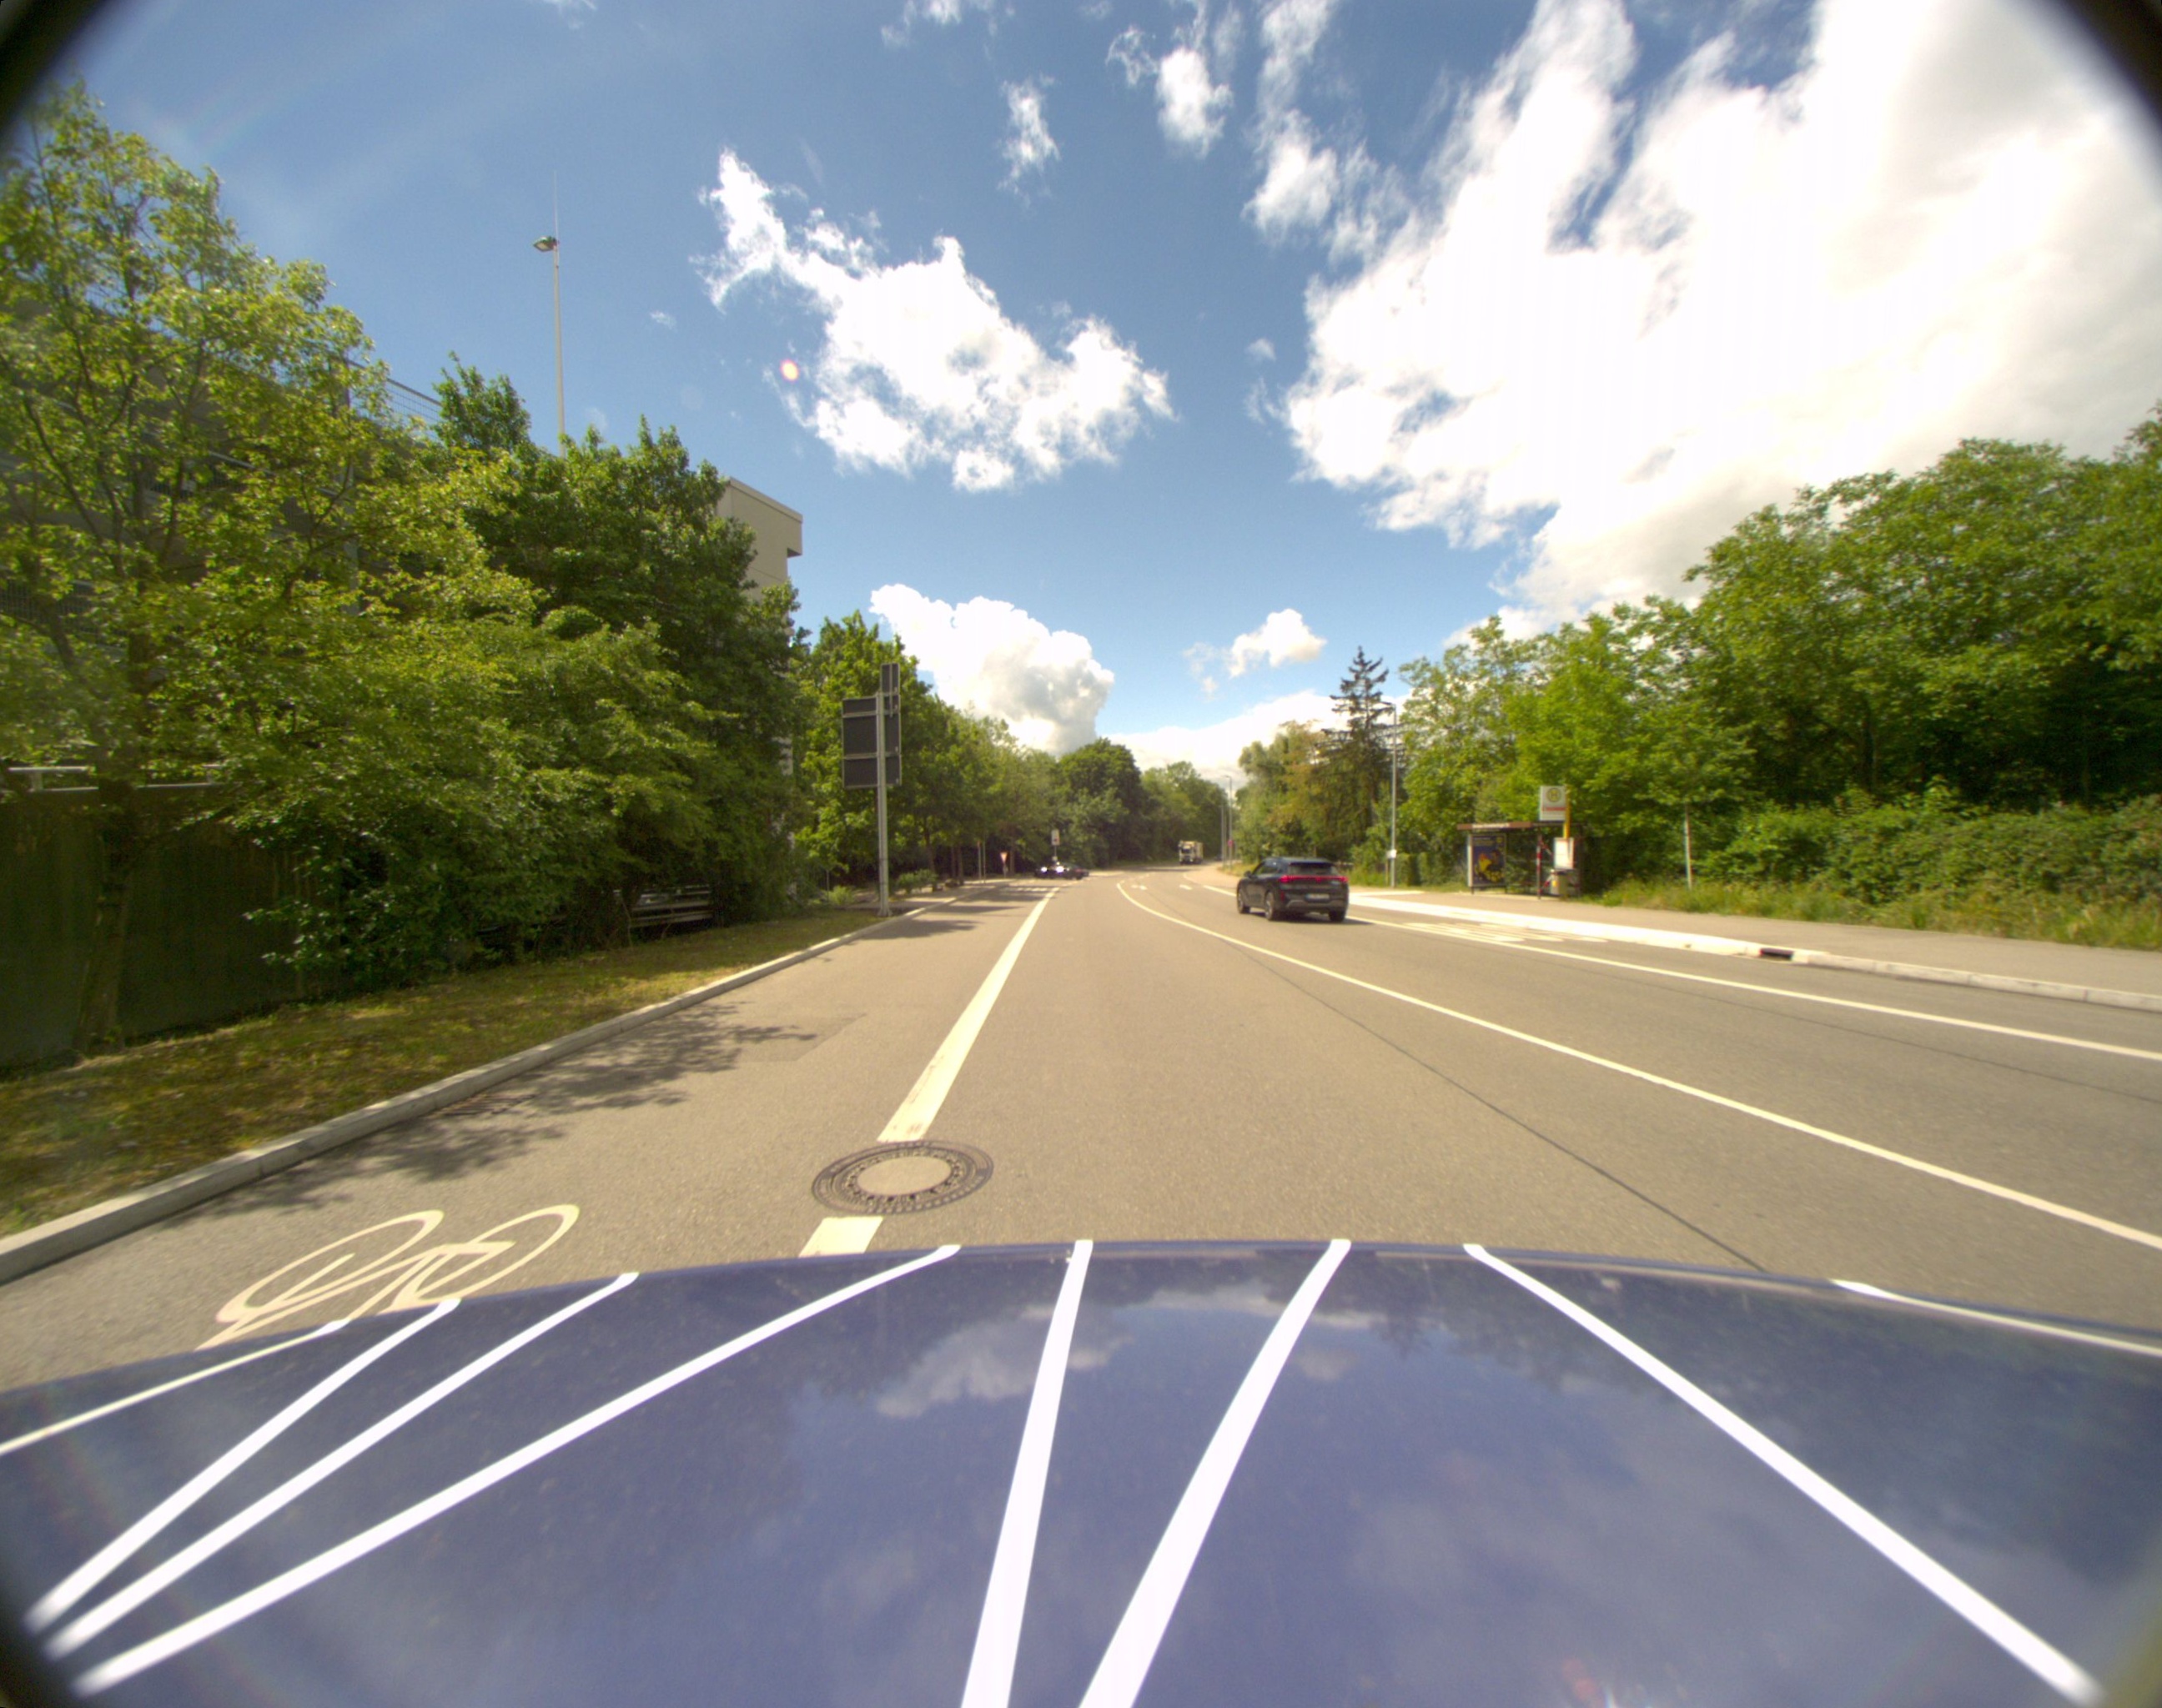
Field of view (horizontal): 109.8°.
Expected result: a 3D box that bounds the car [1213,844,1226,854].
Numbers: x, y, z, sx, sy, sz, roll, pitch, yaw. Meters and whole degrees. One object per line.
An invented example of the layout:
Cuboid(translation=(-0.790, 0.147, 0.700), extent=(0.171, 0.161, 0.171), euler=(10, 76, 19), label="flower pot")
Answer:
Cuboid(translation=(28.798, -0.972, 158.045), extent=(1.995, 2.002, 4.006), euler=(1, 1, 21), label="car")

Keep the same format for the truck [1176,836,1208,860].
Cuboid(translation=(19.034, -1.080, 129.457), extent=(3.235, 3.838, 9.887), euler=(1, 1, 21), label="truck")

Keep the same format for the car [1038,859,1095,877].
Cuboid(translation=(-1.106, 1.055, 57.178), extent=(3.993, 1.293, 1.743), euler=(0, 1, 32), label="car")

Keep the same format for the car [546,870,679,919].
Cuboid(translation=(-15.048, 1.276, 24.421), extent=(3.767, 1.455, 1.668), euler=(-1, 0, 21), label="car")

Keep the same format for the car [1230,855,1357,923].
Cuboid(translation=(5.309, 0.819, 19.667), extent=(1.827, 1.548, 4.628), euler=(1, -1, -2), label="car")
